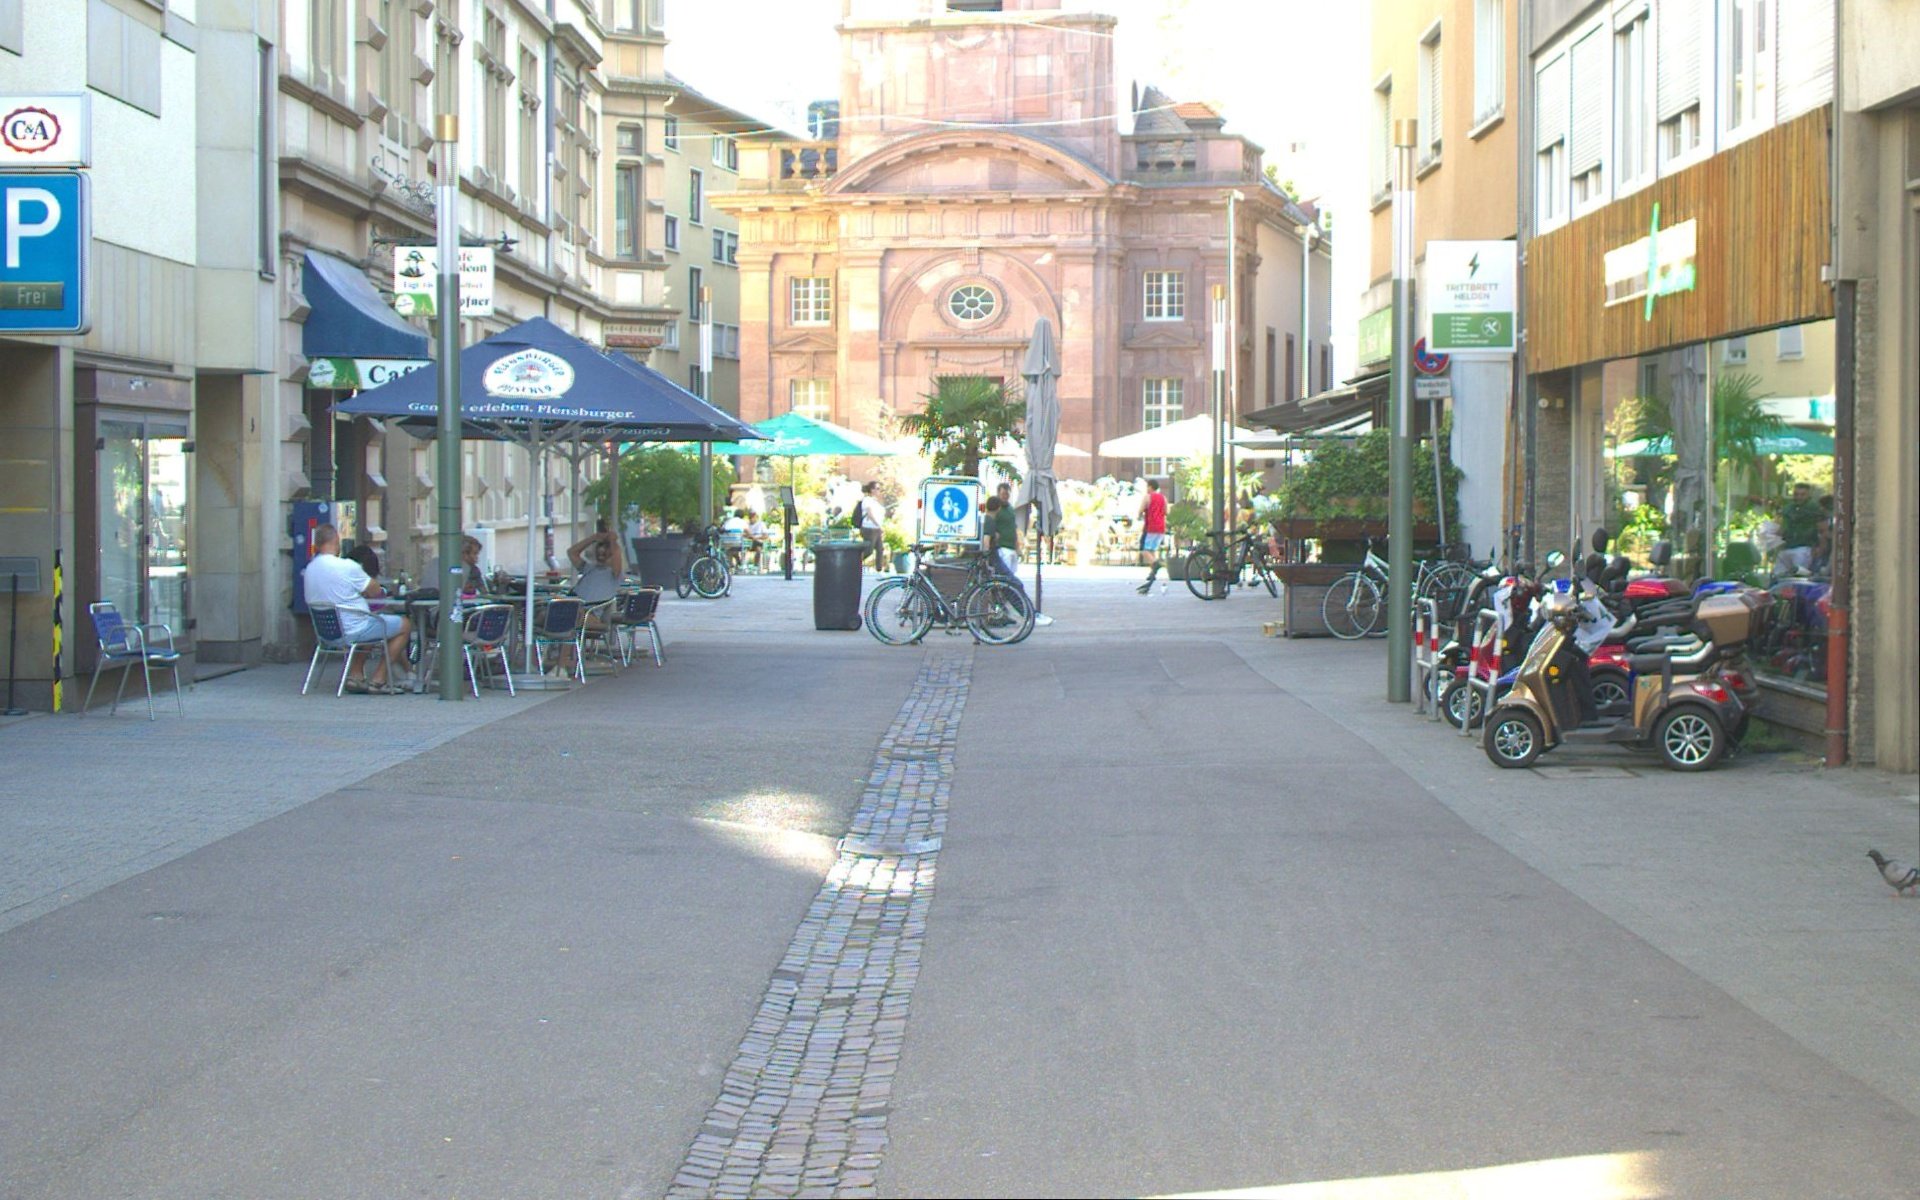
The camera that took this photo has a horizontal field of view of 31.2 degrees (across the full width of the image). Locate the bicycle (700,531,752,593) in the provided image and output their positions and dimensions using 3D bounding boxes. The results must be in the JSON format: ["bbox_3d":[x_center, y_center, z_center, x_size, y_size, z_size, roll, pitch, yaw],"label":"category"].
[{"bbox_3d":[-3.348,-0.560,49.304,0.456,0.847,2.146,0,2,4],"label":"bicycle"}]

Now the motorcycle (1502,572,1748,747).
[{"bbox_3d":[4.191,0.366,21.672,1.485,1.072,0.412,0,1,19],"label":"motorcycle"}]

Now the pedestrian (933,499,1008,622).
[{"bbox_3d":[0.129,-0.482,41.482,0.884,1.459,0.731,0,2,2],"label":"pedestrian"}]

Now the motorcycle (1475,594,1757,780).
[{"bbox_3d":[3.790,0.492,19.887,1.565,1.038,0.372,0,1,19],"label":"motorcycle"}]

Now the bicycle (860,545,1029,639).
[{"bbox_3d":[-0.169,-0.091,37.372,1.823,1.001,0.381,0,2,-2],"label":"bicycle"}]

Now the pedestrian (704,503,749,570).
[{"bbox_3d":[-4.319,-1.178,63.536,0.700,1.213,0.719,1,2,7],"label":"pedestrian"}]

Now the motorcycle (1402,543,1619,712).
[{"bbox_3d":[3.914,0.190,24.445,1.485,1.177,0.412,0,1,16],"label":"motorcycle"}]

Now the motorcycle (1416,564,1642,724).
[{"bbox_3d":[3.907,0.291,23.622,1.485,1.072,0.412,0,1,19],"label":"motorcycle"}]

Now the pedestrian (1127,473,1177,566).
[{"bbox_3d":[3.401,-1.423,60.941,0.611,1.635,0.658,-1,2,-32],"label":"pedestrian"}]

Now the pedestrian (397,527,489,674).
[{"bbox_3d":[-4.438,-0.005,29.548,0.765,1.229,0.831,0,2,-7],"label":"pedestrian"}]

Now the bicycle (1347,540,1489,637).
[{"bbox_3d":[4.849,-0.125,36.400,1.464,1.001,0.573,1,2,8],"label":"bicycle"}]

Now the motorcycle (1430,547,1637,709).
[{"bbox_3d":[4.267,0.200,25.565,1.485,1.177,0.412,0,1,16],"label":"motorcycle"}]

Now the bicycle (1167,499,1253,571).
[{"bbox_3d":[4.558,-1.188,62.632,1.586,1.303,0.366,-1,2,-28],"label":"bicycle"}]

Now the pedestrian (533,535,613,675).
[{"bbox_3d":[-3.407,0.036,30.211,0.692,1.211,0.583,0,2,-7],"label":"pedestrian"}]

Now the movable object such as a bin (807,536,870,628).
[{"bbox_3d":[-1.421,-0.211,40.266,0.721,1.071,0.374,0,2,0],"label":"movable object such as a bin"}]

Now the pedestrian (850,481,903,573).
[{"bbox_3d":[-1.416,-1.252,58.598,0.784,1.550,0.535,1,2,14],"label":"pedestrian"}]

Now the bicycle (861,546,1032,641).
[{"bbox_3d":[-0.153,-0.069,36.972,1.823,1.001,0.381,0,2,-2],"label":"bicycle"}]

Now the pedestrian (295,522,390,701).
[{"bbox_3d":[-4.797,0.077,26.681,0.708,1.363,0.720,0,2,-11],"label":"pedestrian"}]

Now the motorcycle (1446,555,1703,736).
[{"bbox_3d":[4.090,0.290,22.893,1.626,1.171,0.480,0,1,19],"label":"motorcycle"}]

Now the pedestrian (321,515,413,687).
[{"bbox_3d":[-4.787,0.002,27.720,0.717,1.363,0.710,0,2,-11],"label":"pedestrian"}]

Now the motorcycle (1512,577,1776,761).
[{"bbox_3d":[4.106,0.400,20.649,1.518,1.072,0.412,0,1,19],"label":"motorcycle"}]
